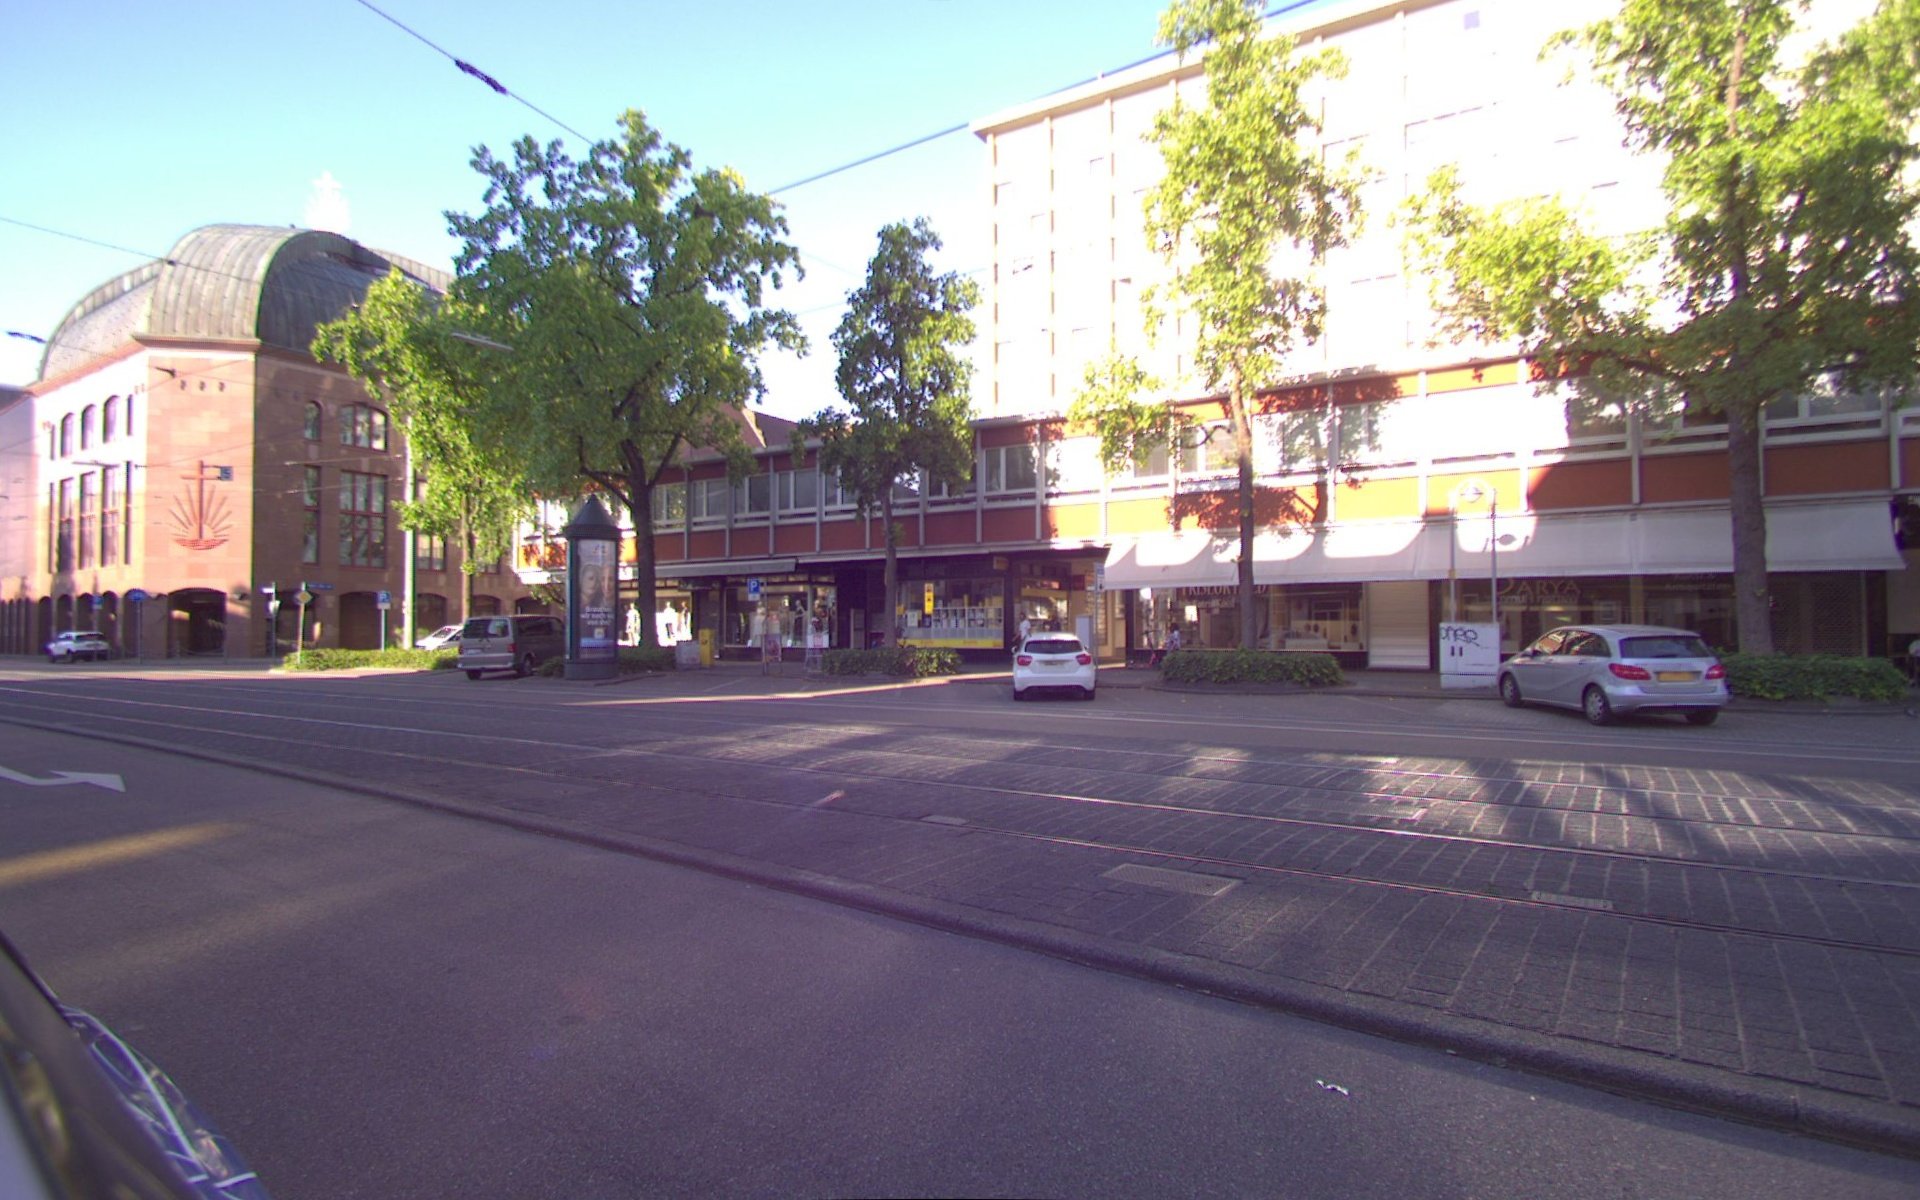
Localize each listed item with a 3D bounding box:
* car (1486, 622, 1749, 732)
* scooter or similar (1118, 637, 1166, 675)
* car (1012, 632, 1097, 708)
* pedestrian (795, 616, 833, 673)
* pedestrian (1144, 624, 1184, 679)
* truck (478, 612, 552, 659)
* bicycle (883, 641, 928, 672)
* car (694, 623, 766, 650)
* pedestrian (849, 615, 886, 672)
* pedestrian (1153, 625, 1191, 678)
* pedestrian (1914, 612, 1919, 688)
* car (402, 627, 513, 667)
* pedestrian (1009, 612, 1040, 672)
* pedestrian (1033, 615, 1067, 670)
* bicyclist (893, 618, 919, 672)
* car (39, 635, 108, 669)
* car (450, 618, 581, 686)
[{"bbox_3d":[10.904,1.194,17.231,1.803,1.578,4.276,0,-1,3],"label":"car"},{"bbox_3d":[5.481,1.678,30.453,1.333,1.102,0.470,-1,-1,32],"label":"scooter or similar"},{"bbox_3d":[2.064,1.512,23.064,1.743,1.440,4.265,-1,0,3],"label":"car"},{"bbox_3d":[-4.939,1.498,34.230,0.905,1.892,0.901,2,-3,-44],"label":"pedestrian"},{"bbox_3d":[5.745,1.441,28.475,0.897,1.509,0.682,-2,-3,32],"label":"pedestrian"},{"bbox_3d":[-27.213,2.171,61.916,4.513,2.784,1.837,-1,-2,30],"label":"truck"},{"bbox_3d":[-1.857,1.943,34.756,1.479,1.033,0.491,-1,-2,8],"label":"bicycle"},{"bbox_3d":[-13.920,2.198,61.196,4.088,1.590,2.015,-1,-3,33],"label":"car"},{"bbox_3d":[-3.143,1.482,34.301,0.897,1.892,0.909,-2,-3,32],"label":"pedestrian"},{"bbox_3d":[6.092,1.469,29.084,0.897,1.481,0.682,-2,-3,32],"label":"pedestrian"},{"bbox_3d":[20.197,1.024,20.784,0.704,1.575,0.865,-2,-3,34],"label":"pedestrian"},{"bbox_3d":[-27.004,2.487,54.503,2.125,1.982,4.941,2,-1,32],"label":"car"},{"bbox_3d":[2.124,1.379,33.631,0.887,1.963,0.997,0,-2,-4],"label":"pedestrian"},{"bbox_3d":[3.143,1.467,35.393,0.915,1.892,0.892,-1,-2,28],"label":"pedestrian"},{"bbox_3d":[-1.856,1.530,34.770,0.818,1.836,0.491,-1,-2,8],"label":"bicyclist"},{"bbox_3d":[-46.207,2.681,52.734,4.264,1.602,1.583,-1,0,32],"label":"car"},{"bbox_3d":[-14.240,1.612,32.774,1.829,1.943,5.118,0,0,2],"label":"car"}]
